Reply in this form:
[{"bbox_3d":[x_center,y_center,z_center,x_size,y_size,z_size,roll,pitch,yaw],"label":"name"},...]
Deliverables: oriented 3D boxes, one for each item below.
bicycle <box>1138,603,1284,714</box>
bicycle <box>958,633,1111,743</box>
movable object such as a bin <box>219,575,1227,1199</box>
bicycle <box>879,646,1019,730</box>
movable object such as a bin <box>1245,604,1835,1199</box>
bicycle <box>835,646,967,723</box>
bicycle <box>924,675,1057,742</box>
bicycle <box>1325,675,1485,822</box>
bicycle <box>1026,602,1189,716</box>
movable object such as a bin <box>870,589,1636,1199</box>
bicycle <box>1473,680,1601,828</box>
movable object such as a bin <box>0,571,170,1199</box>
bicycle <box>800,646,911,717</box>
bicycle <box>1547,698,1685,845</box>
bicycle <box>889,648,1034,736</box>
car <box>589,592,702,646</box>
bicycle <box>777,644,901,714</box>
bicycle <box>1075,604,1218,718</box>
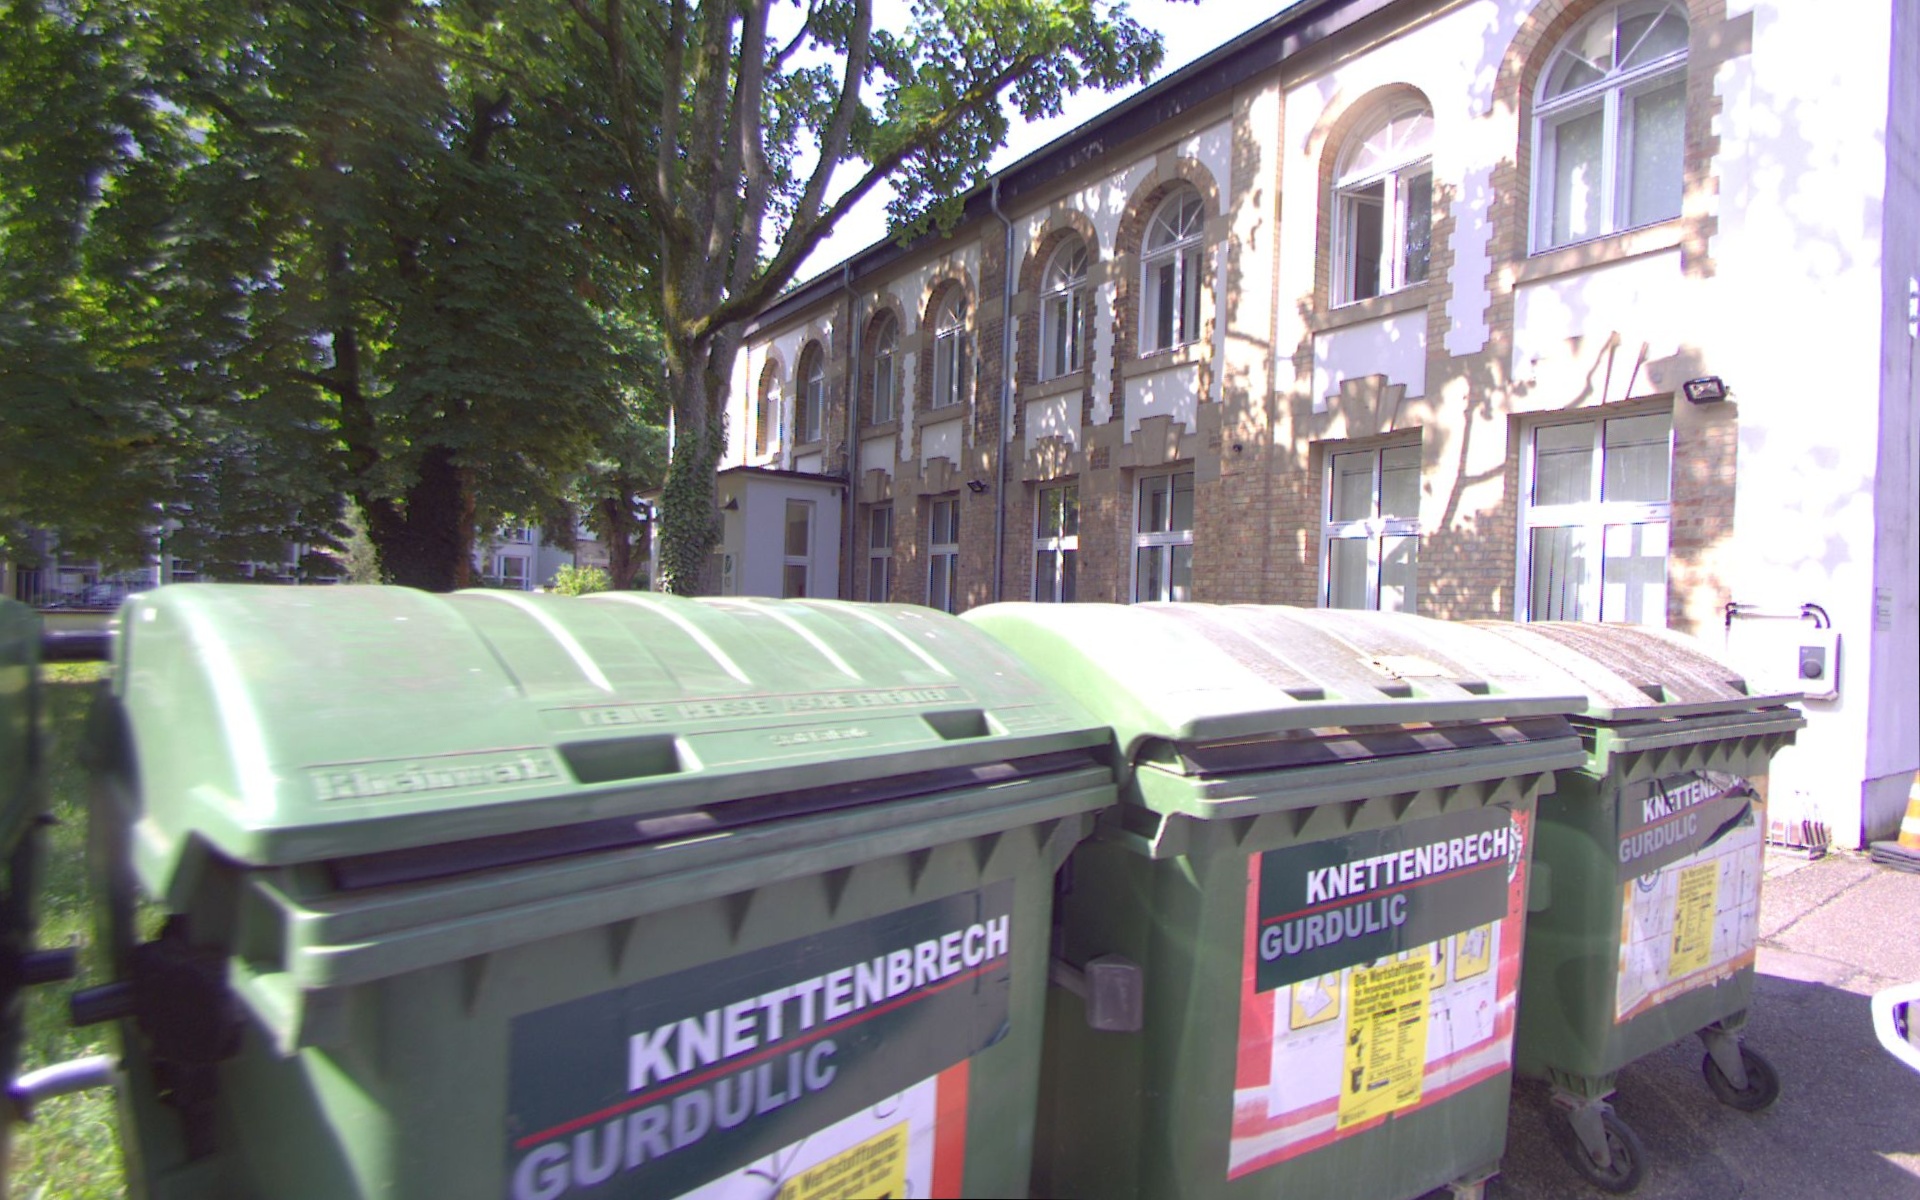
[{"bbox_3d":[2.586,0.578,10.243,1.842,1.051,0.317,1,2,-37],"label":"bicycle"},{"bbox_3d":[0.963,1.064,12.585,2.043,1.138,0.416,-3,4,-32],"label":"bicycle"},{"bbox_3d":[-0.345,0.716,1.685,1.086,1.471,1.228,3,2,39],"label":"movable object such as a bin"},{"bbox_3d":[-0.128,1.213,14.222,2.043,1.070,0.416,1,2,-32],"label":"bicycle"},{"bbox_3d":[1.802,0.774,3.179,1.329,1.471,1.093,0,2,-33],"label":"movable object such as a bin"},{"bbox_3d":[-0.862,1.249,15.178,2.043,1.070,0.416,1,-1,-32],"label":"bicycle"},{"bbox_3d":[0.421,1.393,13.119,1.837,0.715,0.317,-1,3,-30],"label":"bicycle"},{"bbox_3d":[3.736,1.187,8.362,1.842,1.051,0.317,1,2,-37],"label":"bicycle"},{"bbox_3d":[1.733,0.654,11.628,2.043,1.232,0.416,1,2,-32],"label":"bicycle"},{"bbox_3d":[0.635,0.737,2.438,1.268,1.471,1.217,0,2,-32],"label":"movable object such as a bin"},{"bbox_3d":[4.693,1.210,8.137,1.431,1.051,0.317,1,2,-37],"label":"bicycle"},{"bbox_3d":[-1.535,0.709,0.865,1.331,1.471,1.091,0,2,-38],"label":"movable object such as a bin"},{"bbox_3d":[-1.657,1.281,16.082,1.842,1.051,0.317,1,2,-37],"label":"bicycle"},{"bbox_3d":[5.001,1.258,7.623,1.593,0.925,0.317,1,2,-37],"label":"bicycle"},{"bbox_3d":[0.045,1.230,13.761,2.043,1.070,0.416,1,2,-32],"label":"bicycle"},{"bbox_3d":[-10.747,0.709,34.600,1.648,1.632,3.582,-1,-5,27],"label":"car"},{"bbox_3d":[-1.976,1.269,16.542,2.044,1.070,0.416,1,-1,-32],"label":"bicycle"},{"bbox_3d":[2.069,0.630,11.007,1.842,1.158,0.354,0,2,-37],"label":"bicycle"}]
